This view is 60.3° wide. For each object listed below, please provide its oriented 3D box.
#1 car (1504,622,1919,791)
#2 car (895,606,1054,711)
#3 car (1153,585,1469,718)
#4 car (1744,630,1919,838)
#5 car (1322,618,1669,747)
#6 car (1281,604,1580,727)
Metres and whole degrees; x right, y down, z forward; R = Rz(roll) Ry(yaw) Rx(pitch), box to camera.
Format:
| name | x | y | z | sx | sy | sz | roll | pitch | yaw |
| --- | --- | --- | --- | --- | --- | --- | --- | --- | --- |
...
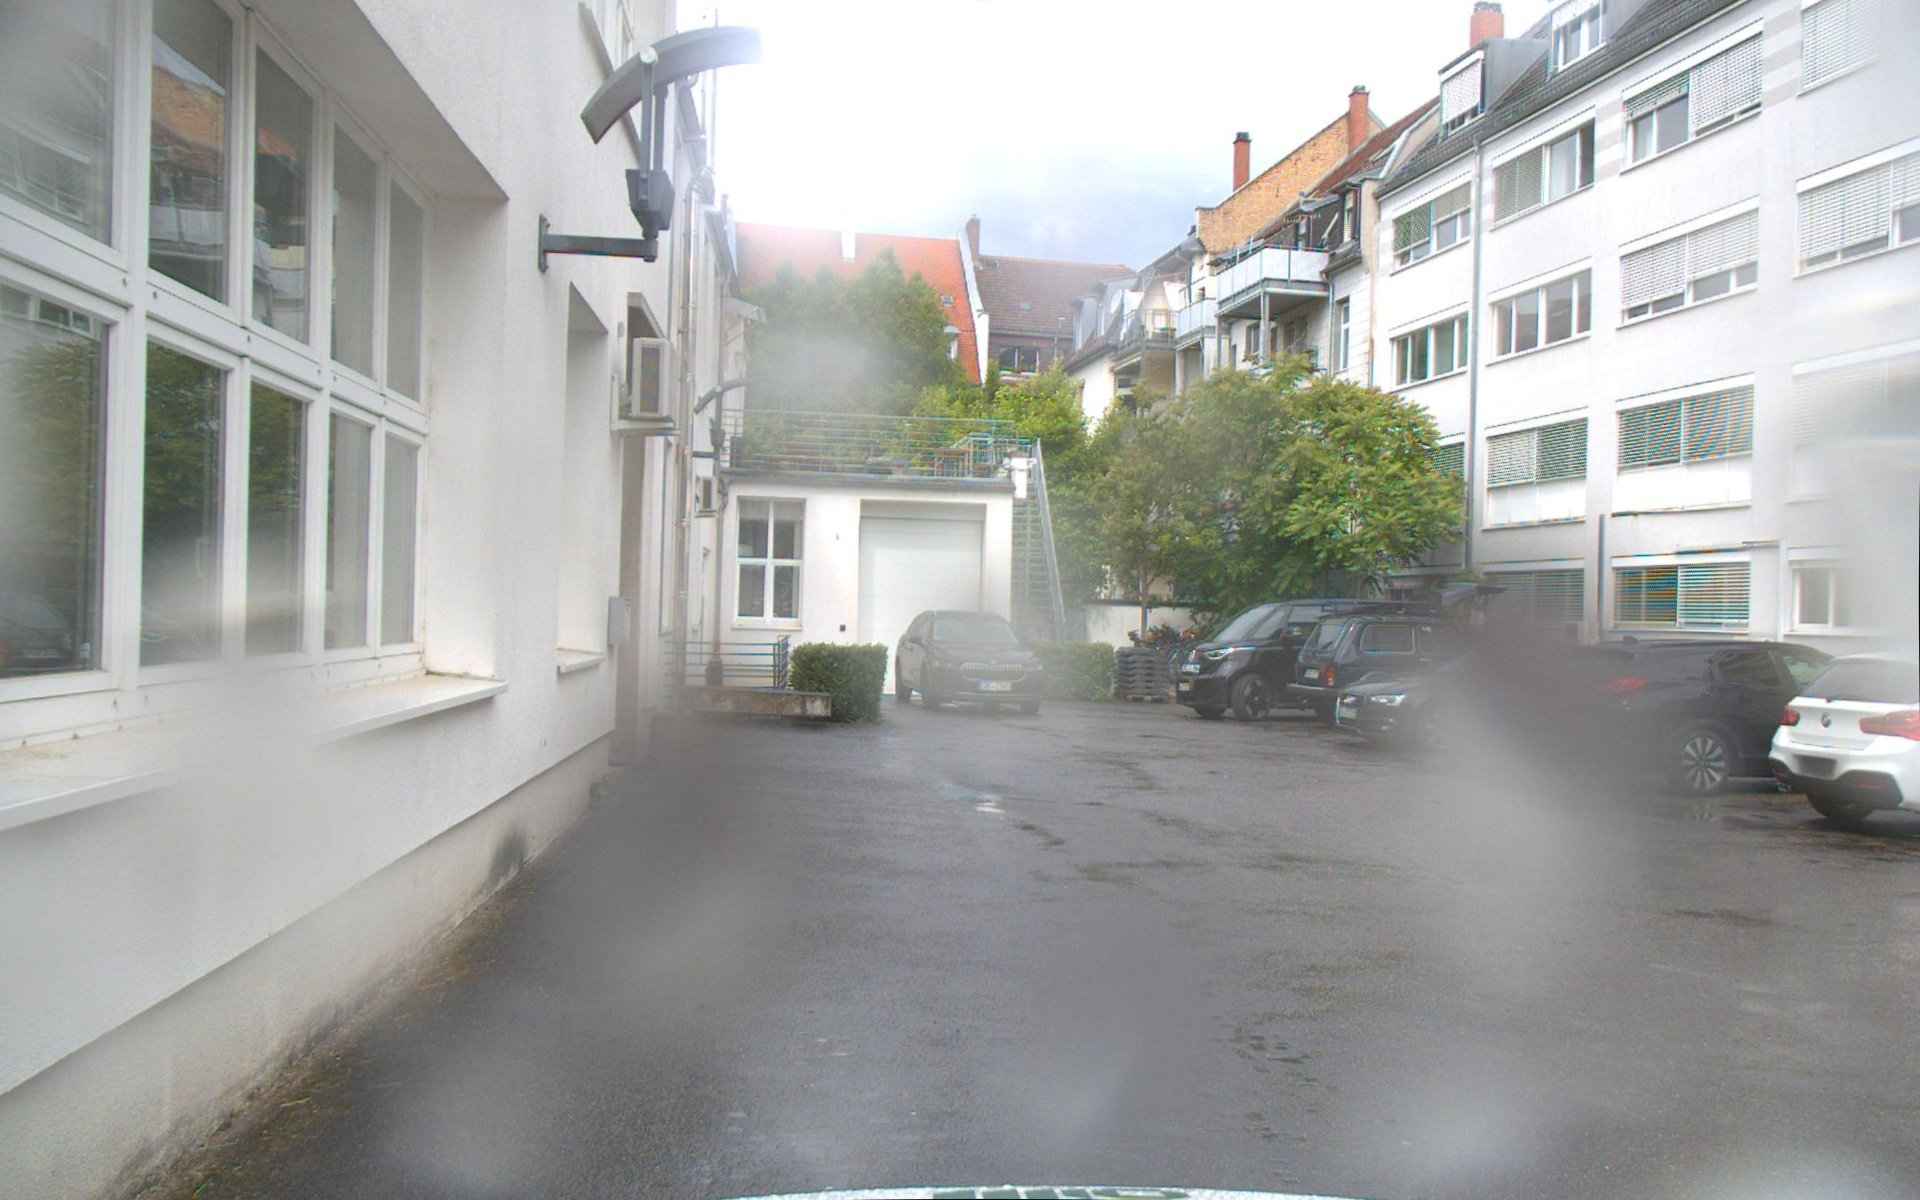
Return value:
| name | x | y | z | sx | sy | sz | roll | pitch | yaw |
| --- | --- | --- | --- | --- | --- | --- | --- | --- | --- |
| car | 7.625 | 1.000 | 16.471 | 3.841 | 1.540 | 1.814 | 0 | -1 | -13 |
| car | 0.135 | 0.864 | 26.124 | 1.942 | 1.469 | 3.993 | 2 | 0 | -8 |
| car | 5.674 | 0.794 | 26.950 | 4.560 | 2.038 | 2.215 | 0 | 0 | -16 |
| car | 8.574 | 1.009 | 13.218 | 3.915 | 1.484 | 1.768 | 1 | -1 | -11 |
| car | 6.735 | 1.010 | 20.965 | 3.838 | 1.540 | 1.747 | 0 | -1 | -11 |
| car | 6.848 | 0.938 | 24.256 | 3.835 | 1.717 | 1.814 | 0 | -1 | -7 |
